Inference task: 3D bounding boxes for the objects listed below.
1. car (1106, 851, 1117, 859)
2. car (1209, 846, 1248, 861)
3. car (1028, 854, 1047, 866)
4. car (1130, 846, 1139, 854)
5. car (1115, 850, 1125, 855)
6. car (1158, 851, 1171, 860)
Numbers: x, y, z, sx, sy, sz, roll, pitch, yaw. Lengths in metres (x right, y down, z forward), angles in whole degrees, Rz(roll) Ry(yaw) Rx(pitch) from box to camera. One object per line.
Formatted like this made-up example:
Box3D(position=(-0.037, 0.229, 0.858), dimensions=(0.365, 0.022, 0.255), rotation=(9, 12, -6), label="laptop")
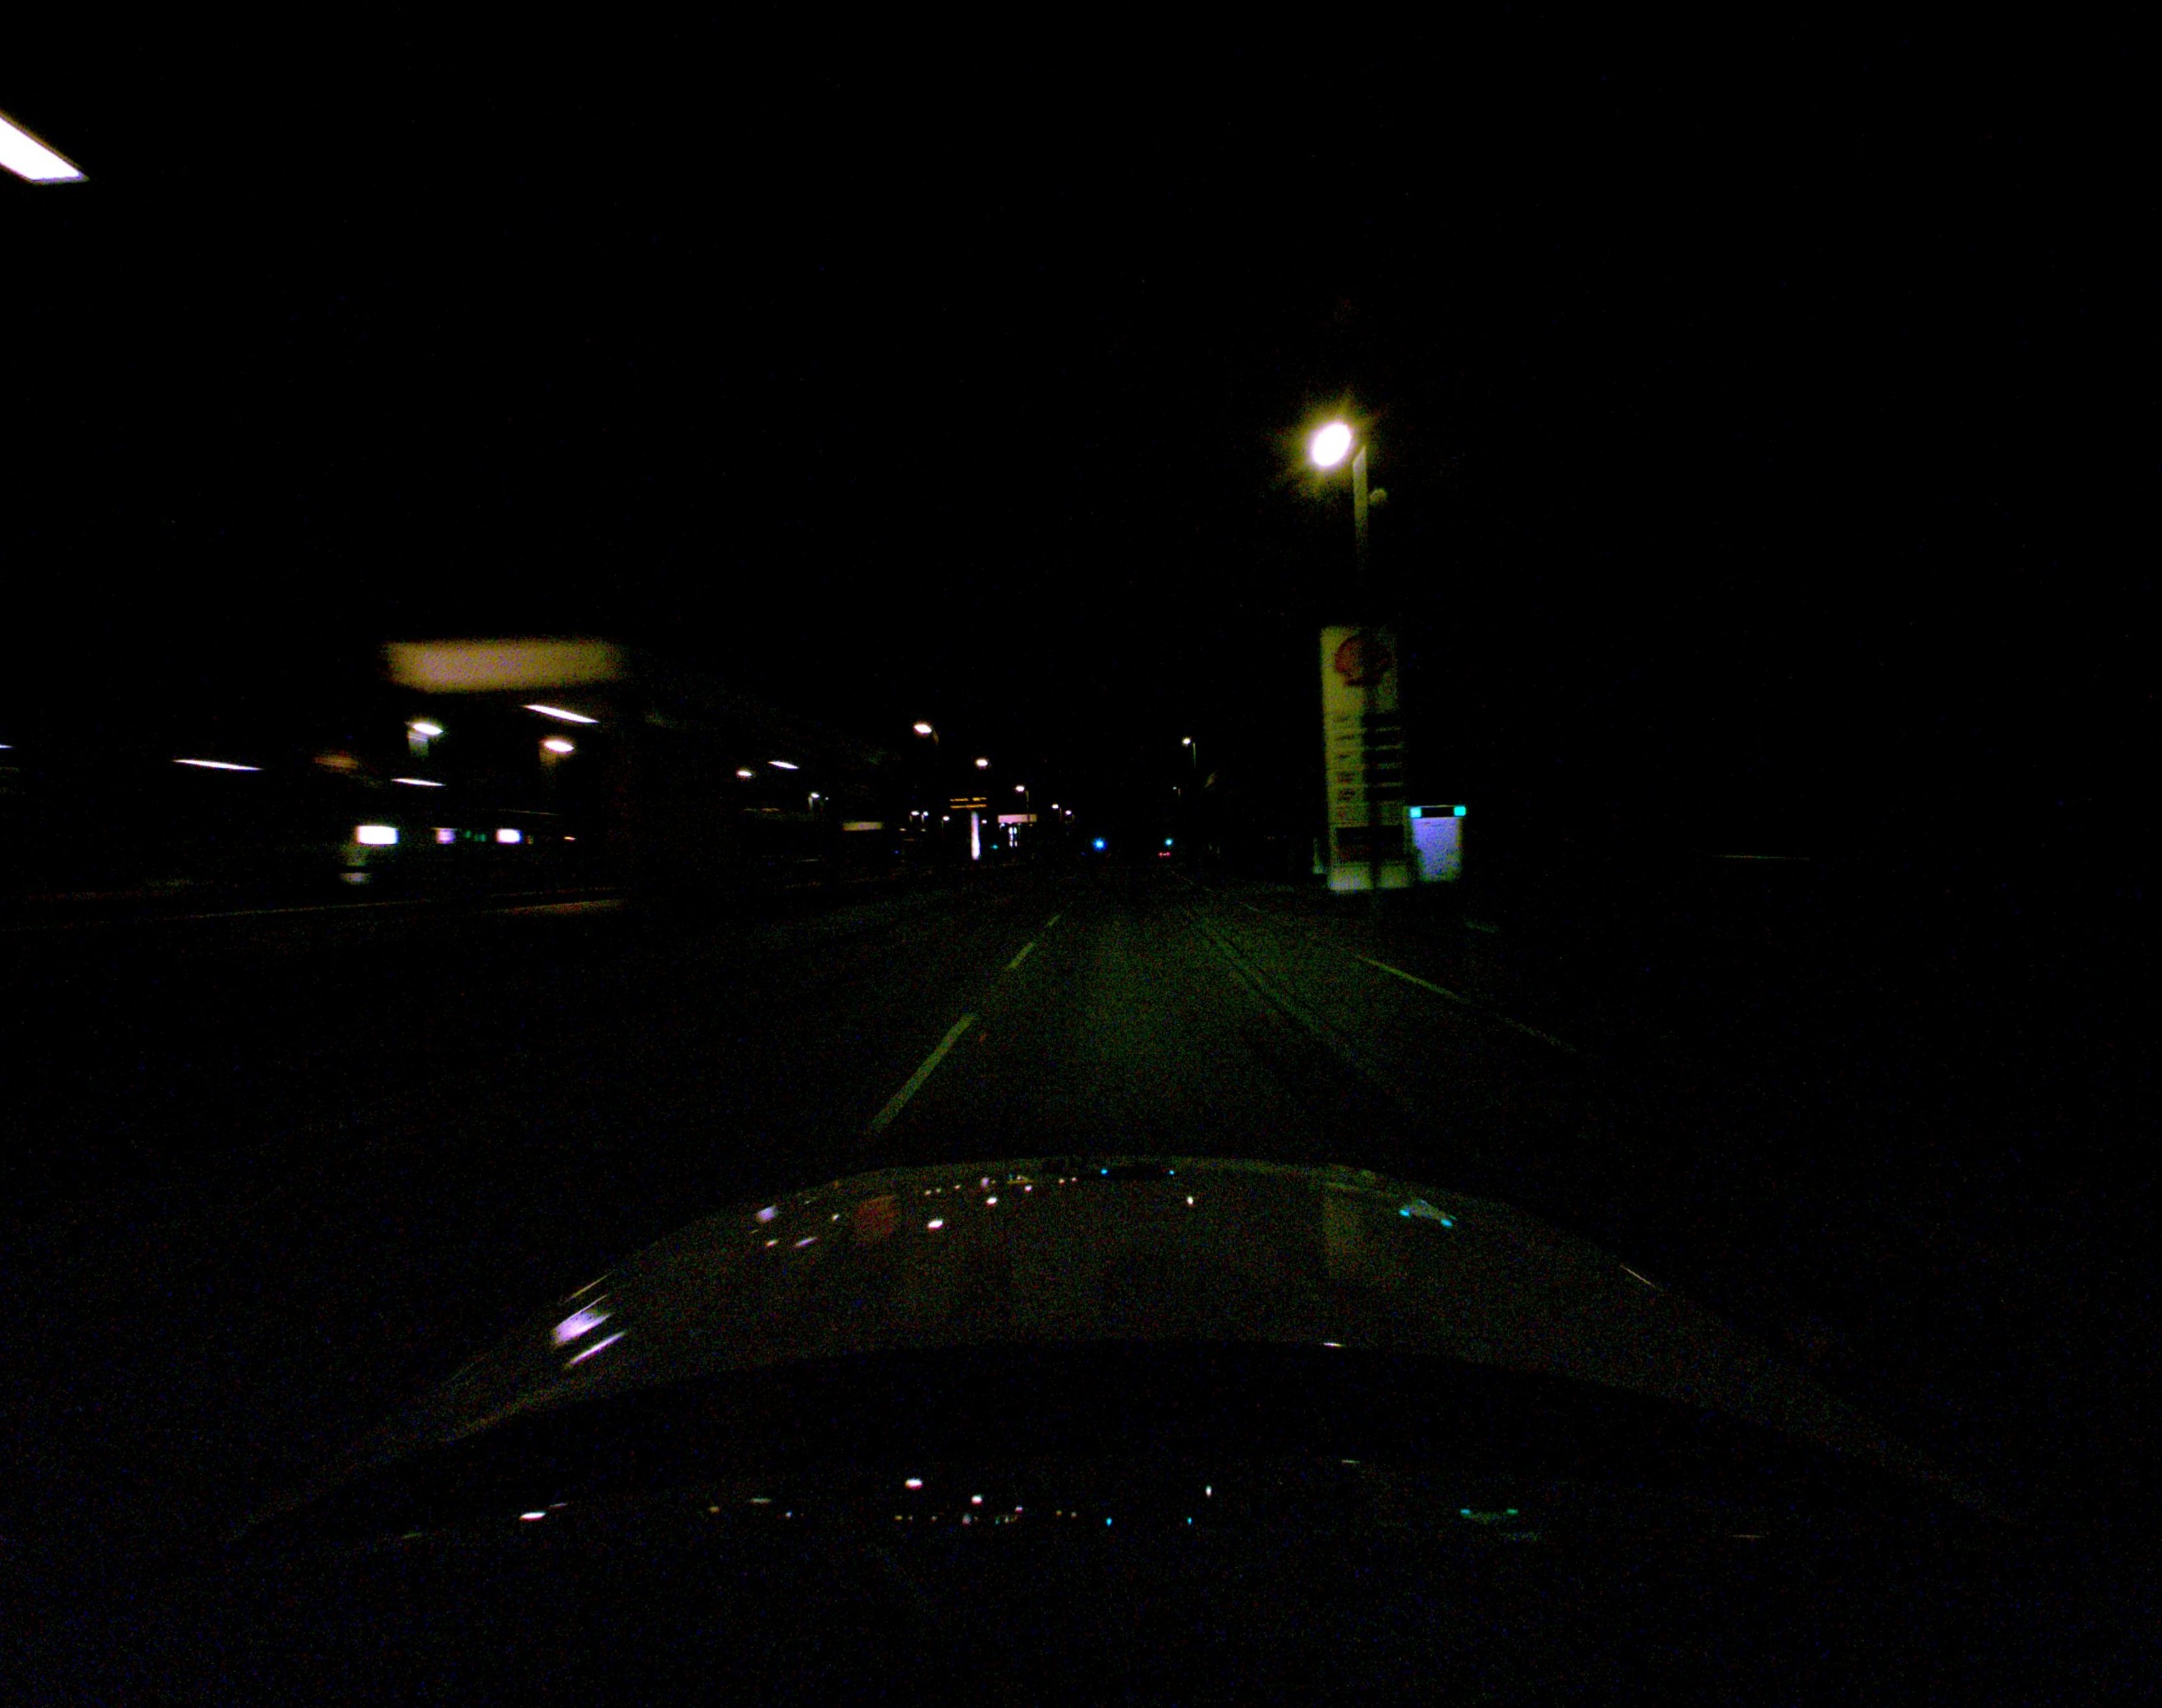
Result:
Box3D(position=(7.242, 0.230, 194.495), dimensions=(1.982, 1.628, 4.689), rotation=(-2, 0, 9), label="car")
Box3D(position=(15.039, -0.060, 83.007), dimensions=(3.744, 1.354, 1.862), rotation=(-2, 0, 6), label="car")
Box3D(position=(-6.023, 0.821, 113.509), dimensions=(1.636, 1.339, 4.554), rotation=(-6, 0, 8), label="car")
Box3D(position=(16.096, -1.191, 244.063), dimensions=(2.079, 2.013, 4.010), rotation=(-6, 0, 9), label="car")
Box3D(position=(10.356, -0.461, 213.883), dimensions=(1.982, 1.338, 5.446), rotation=(-2, 0, 9), label="car")
Box3D(position=(15.460, 0.308, 150.268), dimensions=(2.149, 1.583, 4.023), rotation=(-2, 0, 8), label="car")
